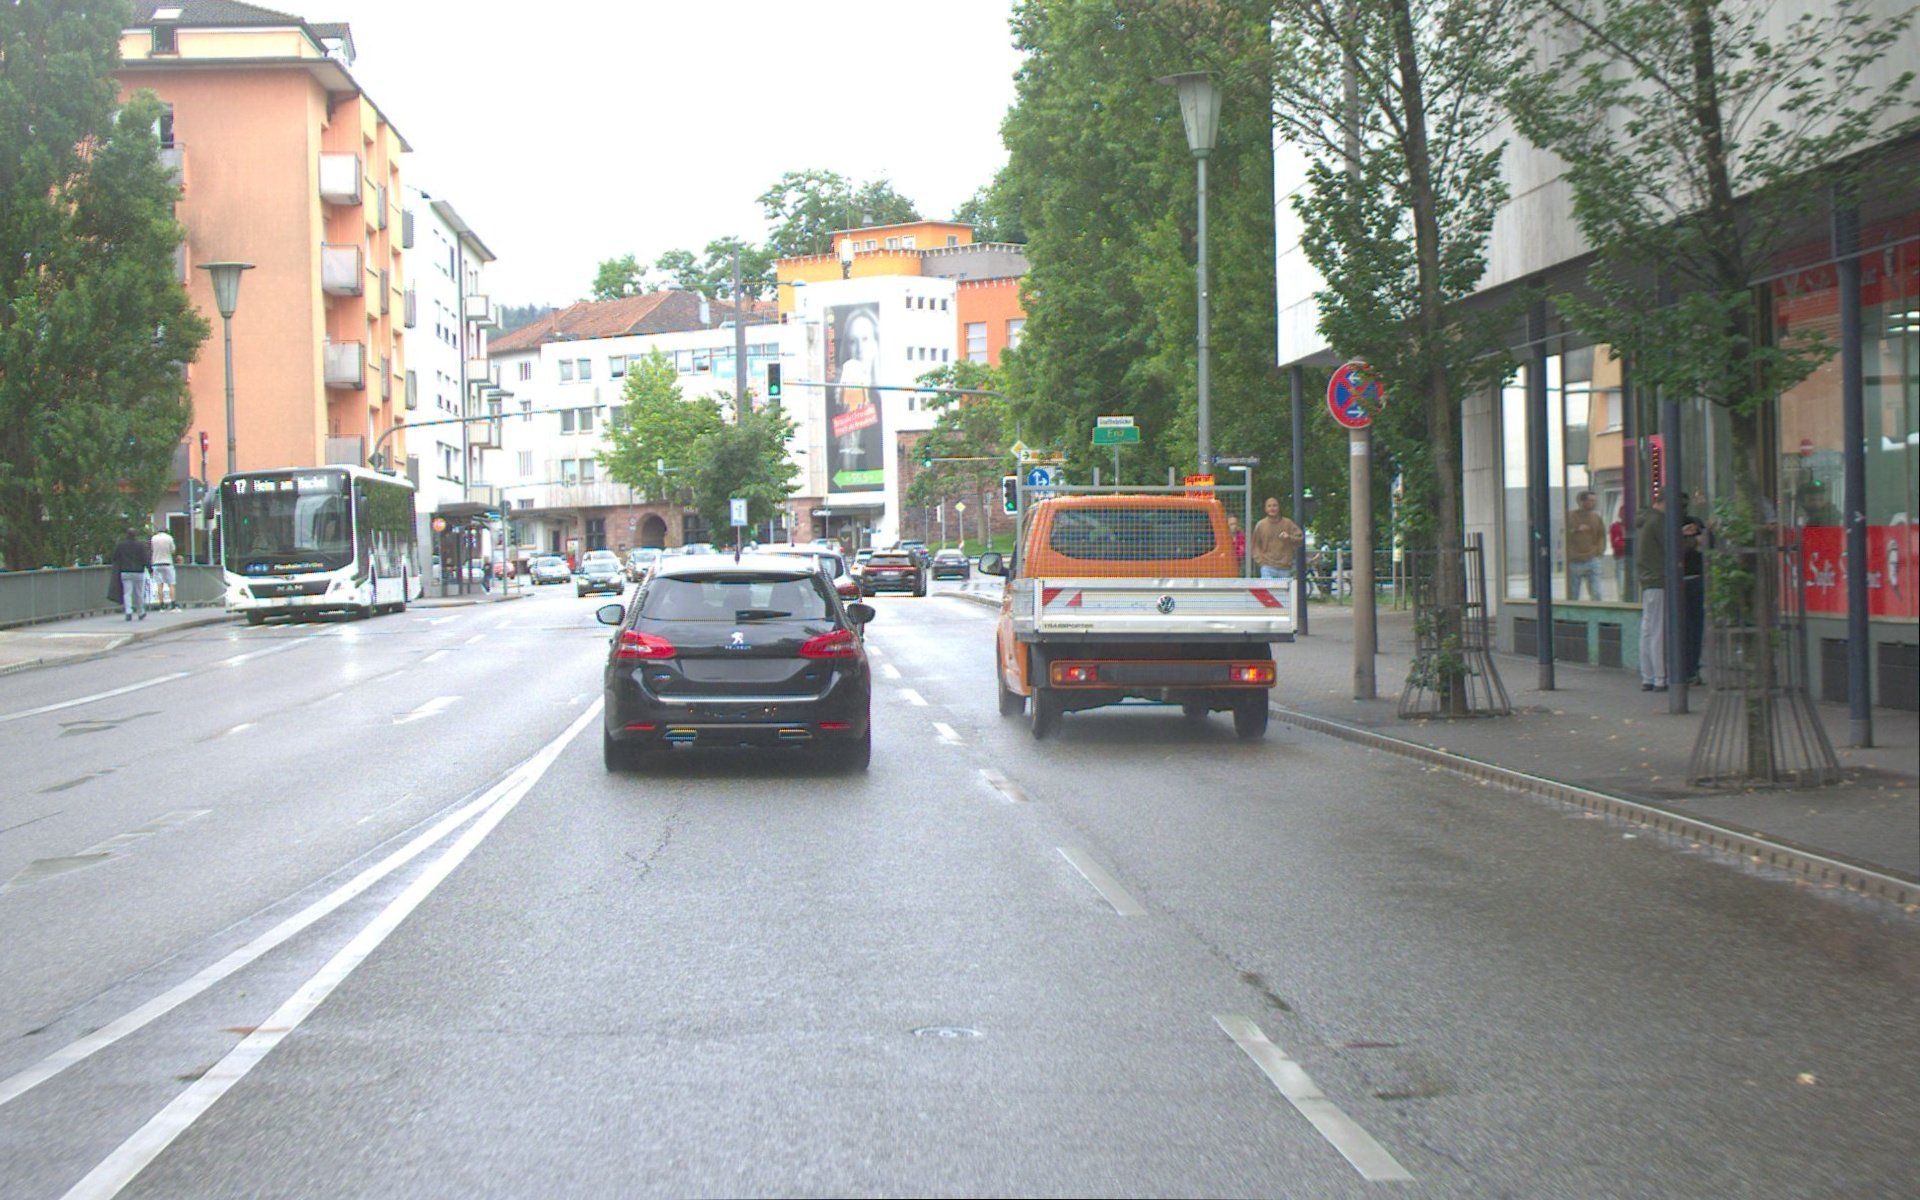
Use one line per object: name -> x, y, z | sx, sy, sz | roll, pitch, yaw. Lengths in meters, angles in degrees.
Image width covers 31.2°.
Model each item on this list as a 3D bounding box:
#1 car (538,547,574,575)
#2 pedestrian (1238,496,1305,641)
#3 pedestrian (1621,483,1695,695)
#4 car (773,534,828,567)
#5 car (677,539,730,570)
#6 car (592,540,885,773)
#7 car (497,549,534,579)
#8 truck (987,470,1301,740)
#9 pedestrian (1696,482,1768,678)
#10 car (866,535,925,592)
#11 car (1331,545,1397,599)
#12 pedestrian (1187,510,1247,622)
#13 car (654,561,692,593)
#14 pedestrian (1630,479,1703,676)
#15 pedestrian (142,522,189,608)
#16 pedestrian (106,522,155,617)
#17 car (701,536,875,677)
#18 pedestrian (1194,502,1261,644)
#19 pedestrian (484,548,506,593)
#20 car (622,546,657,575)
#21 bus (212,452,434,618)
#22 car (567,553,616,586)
car -> -21.723, -2.099, 184.989 | 1.664, 1.395, 3.877 | -2, 1, -4
pedestrian -> 3.952, -0.398, 43.640 | 0.698, 1.795, 0.607 | -3, 1, -3
pedestrian -> 6.062, -0.103, 29.858 | 0.536, 1.813, 0.534 | -1, 1, 6
car -> -8.468, -2.629, 182.281 | 1.993, 1.678, 4.001 | -2, 1, -15
car -> -14.183, -2.492, 189.951 | 1.644, 1.559, 3.600 | 2, -2, -27
car -> -1.455, 0.358, 23.940 | 1.795, 1.478, 4.000 | 0, 0, 0
car -> -25.986, -2.128, 200.859 | 1.993, 1.678, 4.001 | -2, 1, -10
truck -> 1.401, 0.036, 28.090 | 2.121, 2.018, 4.716 | 0, 0, -2
pedestrian -> 6.874, -0.182, 30.623 | 0.536, 1.713, 0.534 | -1, 1, 7
car -> -1.991, -1.104, 105.524 | 1.644, 1.559, 3.600 | 2, -2, -3
car -> 16.490, -1.137, 140.473 | 1.902, 2.007, 3.726 | 2, -2, -5
pedestrian -> 3.796, -0.505, 50.726 | 0.717, 1.614, 0.769 | -3, 1, -3
car -> -13.507, -1.098, 161.958 | 1.664, 1.395, 3.877 | -2, 1, -4
pedestrian -> 6.263, -0.202, 30.489 | 0.536, 1.713, 0.534 | -1, 1, 6
pedestrian -> -16.617, -0.738, 71.953 | 0.797, 1.788, 0.812 | 0, 0, -1
pedestrian -> -15.772, -0.585, 65.393 | 0.698, 1.788, 0.958 | 0, 0, 0
car -> -1.911, 0.047, 39.151 | 1.795, 1.478, 4.000 | -1, 1, -1
pedestrian -> 3.399, -0.349, 43.692 | 0.653, 1.761, 0.923 | -3, 1, -3
pedestrian -> -21.423, -1.358, 158.301 | 0.726, 2.007, 0.657 | 3, -2, -36
car -> -16.476, -2.033, 176.827 | 1.664, 1.395, 3.877 | -2, 1, -4
bus -> -12.897, -1.455, 70.660 | 2.744, 3.065, 12.239 | -1, 2, -3
car -> -15.400, -1.280, 143.865 | 1.791, 1.320, 4.407 | -1, 1, -4
